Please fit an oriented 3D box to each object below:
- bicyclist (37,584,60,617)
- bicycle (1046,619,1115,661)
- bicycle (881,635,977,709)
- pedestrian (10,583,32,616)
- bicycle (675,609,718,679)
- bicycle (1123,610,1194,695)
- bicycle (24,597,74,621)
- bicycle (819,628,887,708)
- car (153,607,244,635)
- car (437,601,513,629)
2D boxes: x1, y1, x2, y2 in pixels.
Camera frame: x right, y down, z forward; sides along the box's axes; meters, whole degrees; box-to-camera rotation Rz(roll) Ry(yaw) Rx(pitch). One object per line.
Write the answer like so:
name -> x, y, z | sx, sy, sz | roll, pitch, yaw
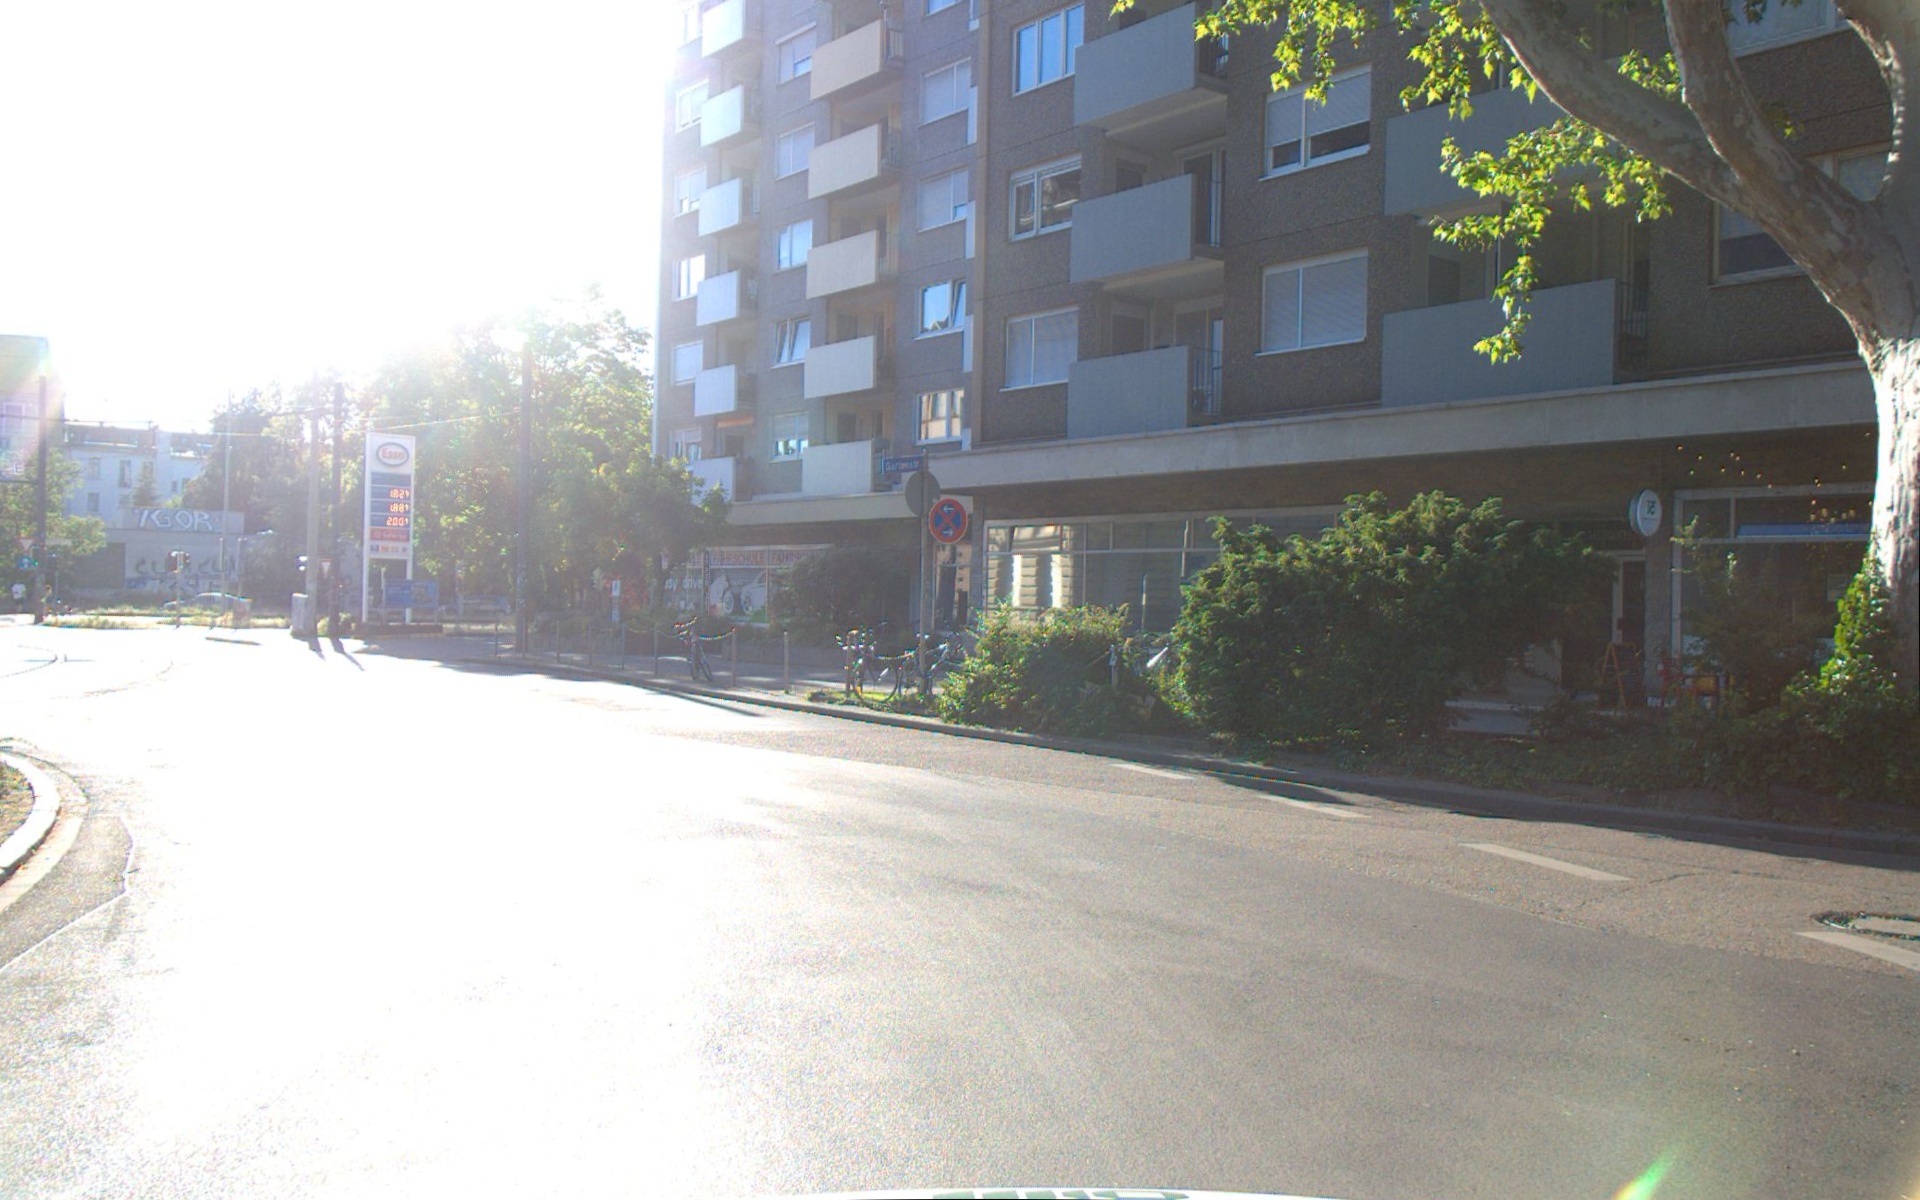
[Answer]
bicyclist -> -39.681, 0.025, 71.995 | 0.798, 1.438, 0.615 | 1, -1, -38
bicycle -> 2.733, 0.912, 37.717 | 0.638, 0.915, 1.629 | 1, 0, -38
bicycle -> -0.435, 0.944, 22.181 | 0.537, 0.920, 1.718 | 1, 0, -30
pedestrian -> -48.205, -0.026, 84.906 | 0.918, 1.722, 0.768 | 1, -1, -35
bicycle -> -4.901, 0.797, 30.687 | 0.627, 1.247, 2.081 | 1, 0, -14
bicycle -> 2.537, 0.663, 21.223 | 0.344, 1.056, 1.041 | 0, 0, -30
bicycle -> -39.664, 0.394, 71.998 | 1.820, 1.002, 0.724 | 1, 0, -38
bicycle -> -1.548, 0.945, 23.612 | 0.627, 1.040, 2.081 | 1, 0, -14
car -> -42.998, 1.177, 93.510 | 4.403, 1.513, 1.773 | 0, 0, -16
car -> -26.763, 0.841, 91.217 | 3.928, 1.478, 1.799 | 1, 0, -20
